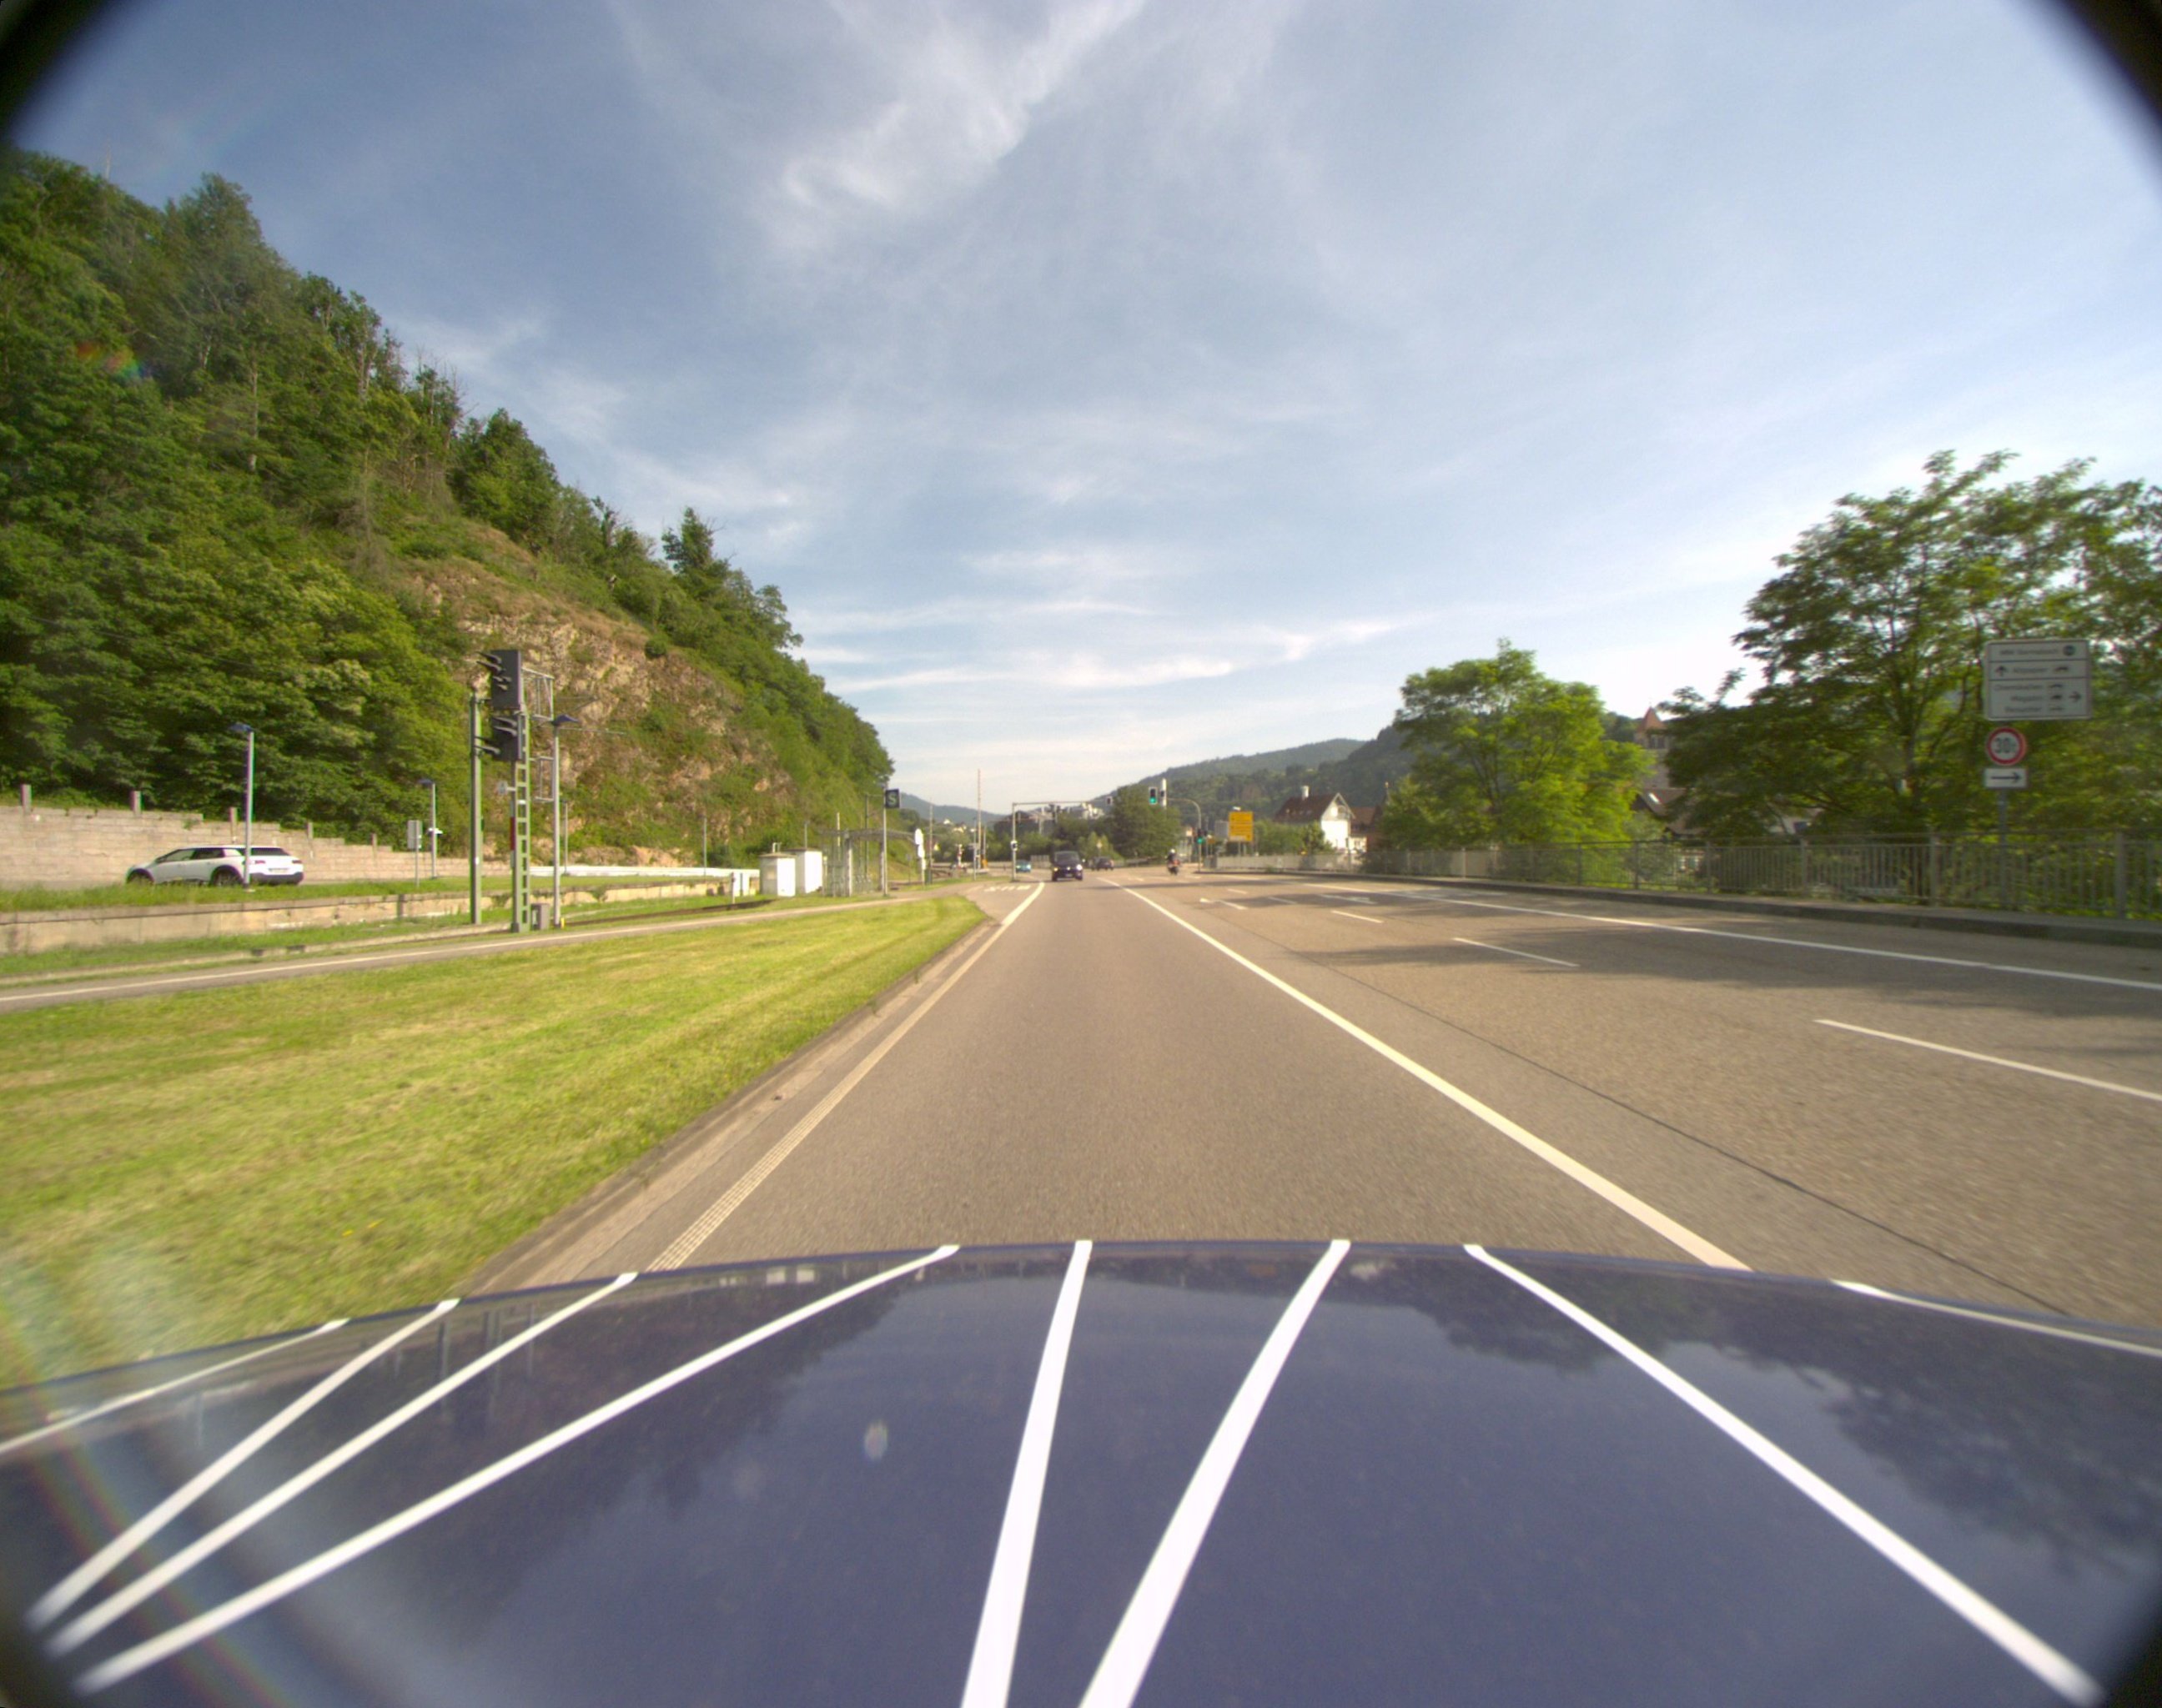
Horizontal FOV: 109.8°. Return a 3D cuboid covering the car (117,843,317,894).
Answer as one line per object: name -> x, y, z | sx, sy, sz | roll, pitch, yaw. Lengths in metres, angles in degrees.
car -> -25.859, 0.436, 22.835 | 4.105, 1.390, 1.810 | -1, 0, 4

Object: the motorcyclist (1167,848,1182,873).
motorcyclist -> 6.624, 0.448, 53.820 | 0.847, 1.774, 1.171 | -2, 0, 0

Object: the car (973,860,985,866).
car -> -20.571, 1.880, 153.319 | 1.652, 1.224, 4.087 | -1, 0, -19

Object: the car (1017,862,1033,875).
car -> -6.922, 1.746, 93.302 | 1.769, 1.452, 3.574 | 1, 0, -6

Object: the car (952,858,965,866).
car -> -23.768, 1.610, 147.201 | 1.879, 1.452, 3.723 | 0, 0, -19

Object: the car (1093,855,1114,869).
car -> 2.480, 0.838, 83.817 | 1.790, 1.470, 4.752 | -1, 0, -5

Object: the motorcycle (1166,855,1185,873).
motorcycle -> 6.643, 0.724, 53.793 | 0.975, 1.214, 2.572 | -2, 0, 0

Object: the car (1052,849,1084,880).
car -> -0.847, 0.683, 50.372 | 1.909, 1.868, 4.347 | -4, 0, -1
